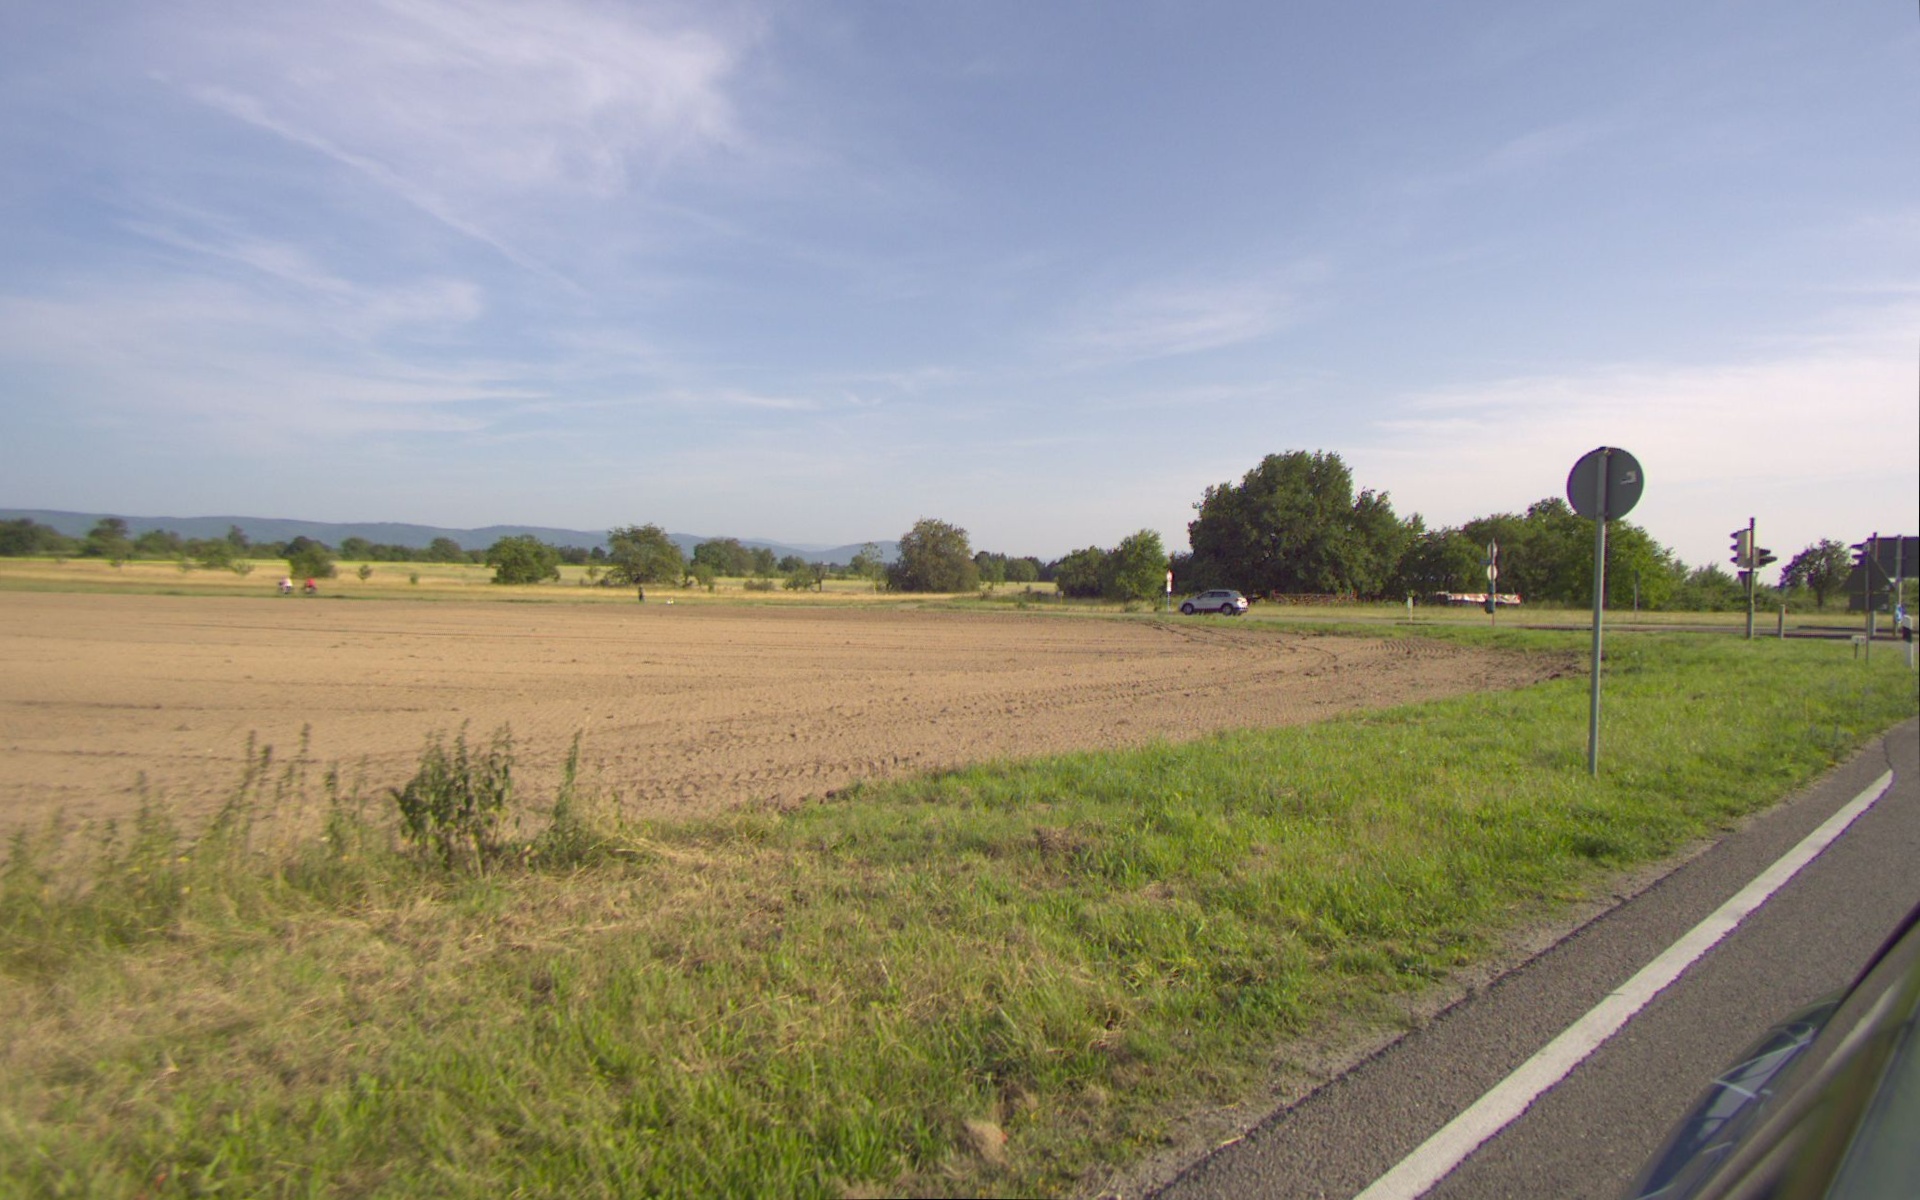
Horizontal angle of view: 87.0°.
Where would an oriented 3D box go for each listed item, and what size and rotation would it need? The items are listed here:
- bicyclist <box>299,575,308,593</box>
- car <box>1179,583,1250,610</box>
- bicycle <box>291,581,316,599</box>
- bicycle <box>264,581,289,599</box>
[{"bbox_3d":[-57.765,-1.419,89.049,0.540,1.617,0.487,0,0,2],"label":"bicyclist"},{"bbox_3d":[16.248,-0.230,64.671,3.973,1.672,1.975,0,0,35],"label":"car"},{"bbox_3d":[-57.800,-0.889,89.051,1.941,1.550,0.503,0,0,3],"label":"bicycle"},{"bbox_3d":[-59.439,-0.894,88.001,1.941,1.550,0.503,0,0,3],"label":"bicycle"}]
